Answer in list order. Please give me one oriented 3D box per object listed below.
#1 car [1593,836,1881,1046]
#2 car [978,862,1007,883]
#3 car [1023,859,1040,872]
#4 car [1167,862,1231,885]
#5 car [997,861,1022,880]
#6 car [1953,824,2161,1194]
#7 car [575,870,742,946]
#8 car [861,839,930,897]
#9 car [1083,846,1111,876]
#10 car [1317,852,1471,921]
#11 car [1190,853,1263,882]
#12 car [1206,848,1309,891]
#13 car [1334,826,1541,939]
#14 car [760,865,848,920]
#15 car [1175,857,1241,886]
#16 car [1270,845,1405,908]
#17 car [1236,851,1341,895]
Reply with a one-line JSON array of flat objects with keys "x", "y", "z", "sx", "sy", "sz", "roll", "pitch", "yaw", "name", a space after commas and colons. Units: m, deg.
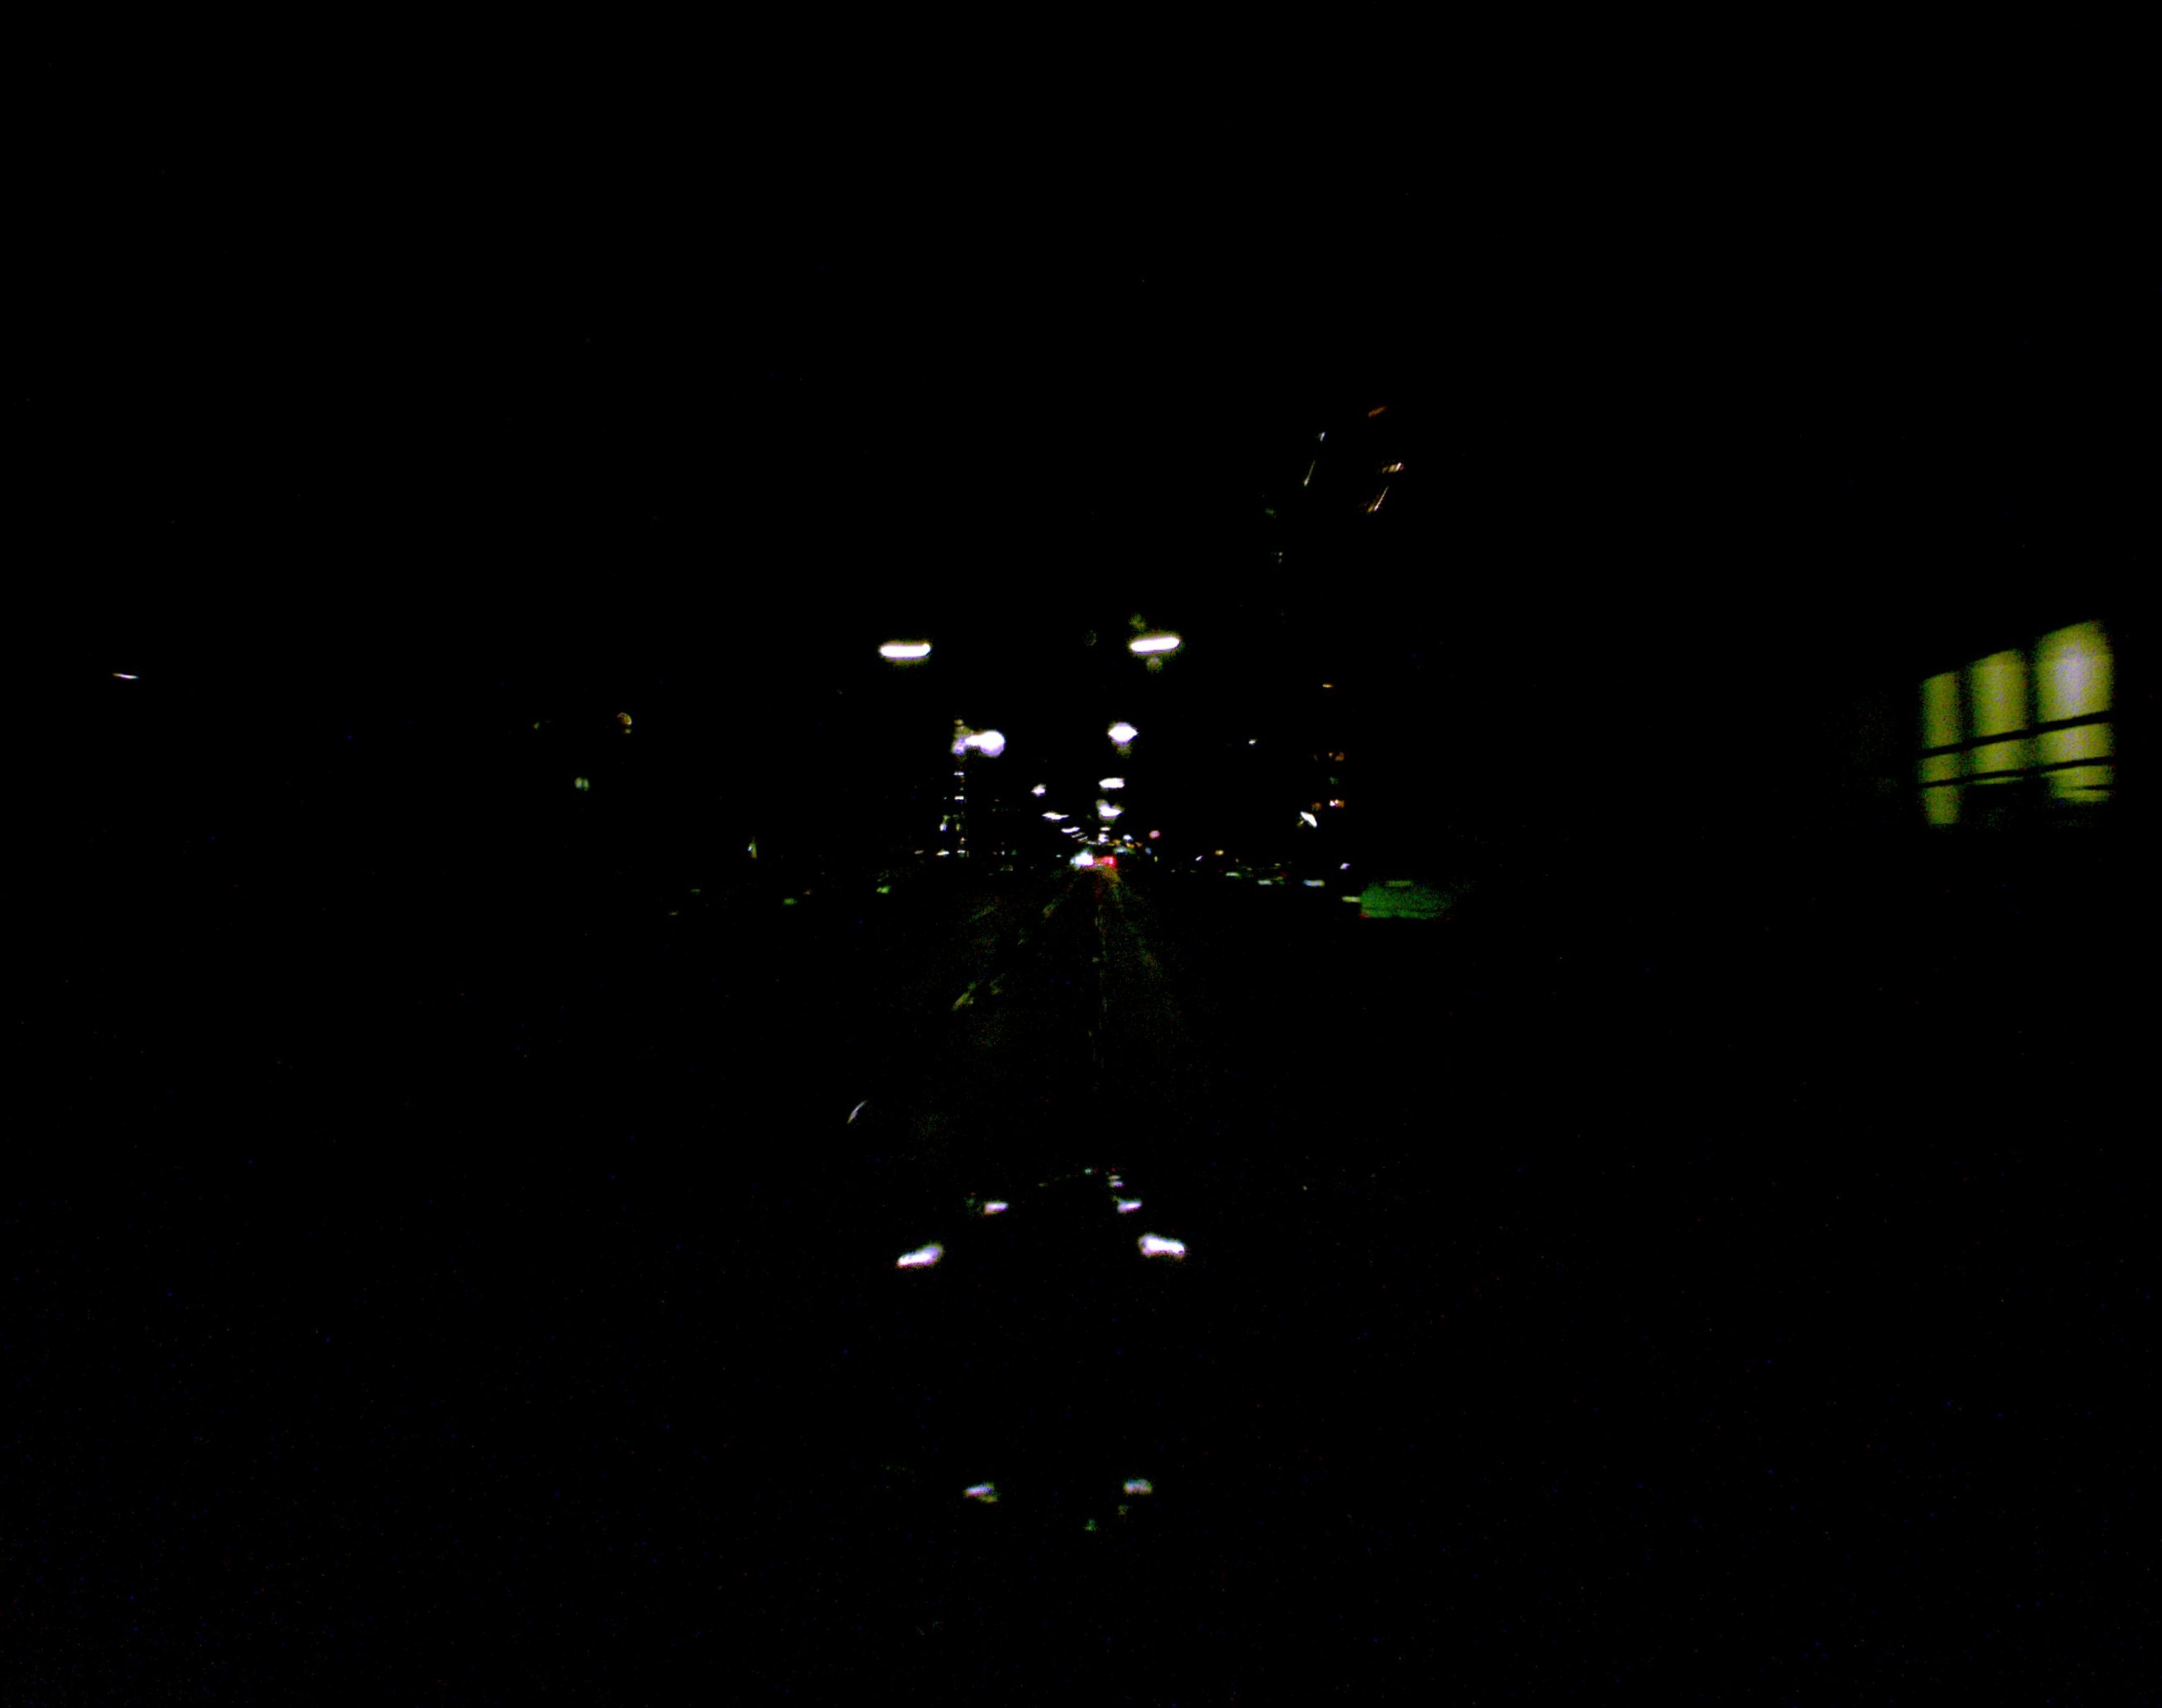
[{"x": 6.177, "y": 0.612, "z": 7.501, "sx": 3.857, "sy": 1.438, "sz": 1.580, "roll": 0, "pitch": -1, "yaw": -44, "name": "car"}, {"x": -7.828, "y": 1.662, "z": 72.127, "sx": 2.102, "sy": 1.765, "sz": 4.962, "roll": 1, "pitch": -1, "yaw": -2, "name": "car"}, {"x": -6.786, "y": 1.555, "z": 111.682, "sx": 2.016, "sy": 1.761, "sz": 4.000, "roll": 0, "pitch": -1, "yaw": 0, "name": "car"}, {"x": 7.821, "y": 1.241, "z": 53.702, "sx": 4.272, "sy": 1.454, "sz": 1.927, "roll": 0, "pitch": -1, "yaw": -43, "name": "car"}, {"x": -7.062, "y": 1.608, "z": 80.558, "sx": 1.993, "sy": 1.785, "sz": 4.000, "roll": 0, "pitch": -1, "yaw": 1, "name": "car"}, {"x": 6.099, "y": 0.579, "z": 4.267, "sx": 1.784, "sy": 1.488, "sz": 3.879, "roll": -2, "pitch": -1, "yaw": 43, "name": "car"}, {"x": -8.886, "y": 1.077, "z": 17.518, "sx": 1.605, "sy": 1.428, "sz": 3.807, "roll": 0, "pitch": -1, "yaw": -1, "name": "car"}, {"x": -8.486, "y": 0.608, "z": 37.853, "sx": 2.019, "sy": 2.499, "sz": 5.604, "roll": 1, "pitch": 0, "yaw": -1, "name": "car"}, {"x": 1.329, "y": 0.608, "z": 69.271, "sx": 2.210, "sy": 2.442, "sz": 5.382, "roll": -1, "pitch": 0, "yaw": -1, "name": "car"}, {"x": 7.042, "y": 0.673, "z": 18.261, "sx": 3.351, "sy": 1.385, "sz": 1.614, "roll": 0, "pitch": -1, "yaw": -34, "name": "car"}, {"x": 7.467, "y": 0.656, "z": 41.530, "sx": 3.849, "sy": 1.430, "sz": 1.618, "roll": 0, "pitch": 0, "yaw": -41, "name": "car"}, {"x": 6.704, "y": 0.535, "z": 30.723, "sx": 3.909, "sy": 1.534, "sz": 1.800, "roll": 0, "pitch": 0, "yaw": -41, "name": "car"}, {"x": 6.787, "y": 0.474, "z": 15.314, "sx": 4.196, "sy": 1.839, "sz": 1.940, "roll": 1, "pitch": 0, "yaw": -41, "name": "car"}, {"x": -8.820, "y": 1.184, "z": 26.188, "sx": 1.636, "sy": 1.507, "sz": 3.617, "roll": 0, "pitch": 1, "yaw": -1, "name": "car"}, {"x": 7.509, "y": 0.980, "z": 47.854, "sx": 2.030, "sy": 1.623, "sz": 3.851, "roll": -1, "pitch": -1, "yaw": 43, "name": "car"}, {"x": 6.900, "y": 0.524, "z": 21.610, "sx": 1.671, "sy": 1.404, "sz": 4.485, "roll": -1, "pitch": 1, "yaw": 42, "name": "car"}, {"x": 7.253, "y": 0.631, "z": 28.259, "sx": 3.878, "sy": 1.433, "sz": 1.799, "roll": 1, "pitch": -1, "yaw": -45, "name": "car"}]
